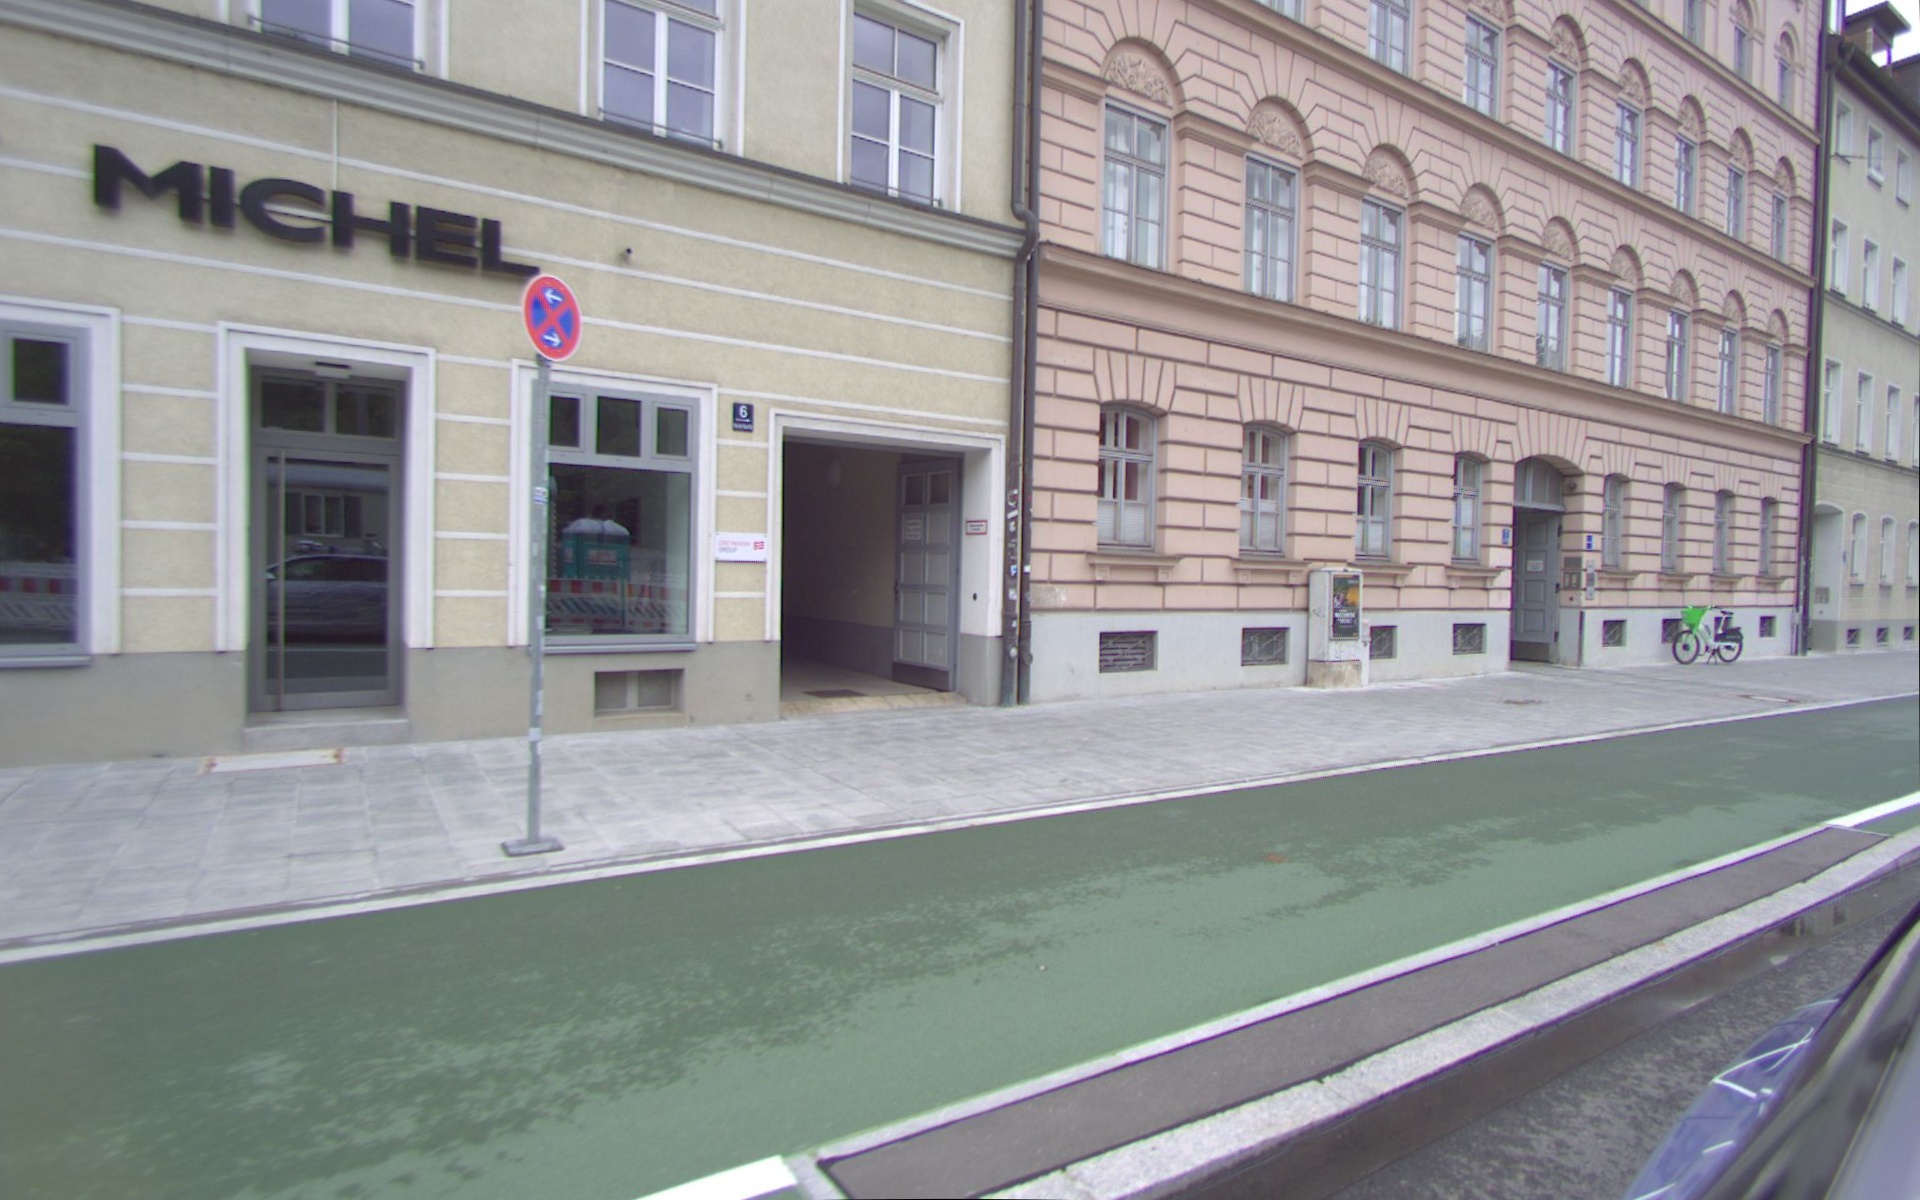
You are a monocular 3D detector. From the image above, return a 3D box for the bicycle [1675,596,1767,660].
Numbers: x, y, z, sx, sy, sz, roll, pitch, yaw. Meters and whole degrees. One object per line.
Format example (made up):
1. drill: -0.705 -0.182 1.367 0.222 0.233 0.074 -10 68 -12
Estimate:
1. bicycle: 14.692 0.549 19.545 1.695 1.188 0.428 1 2 -16
